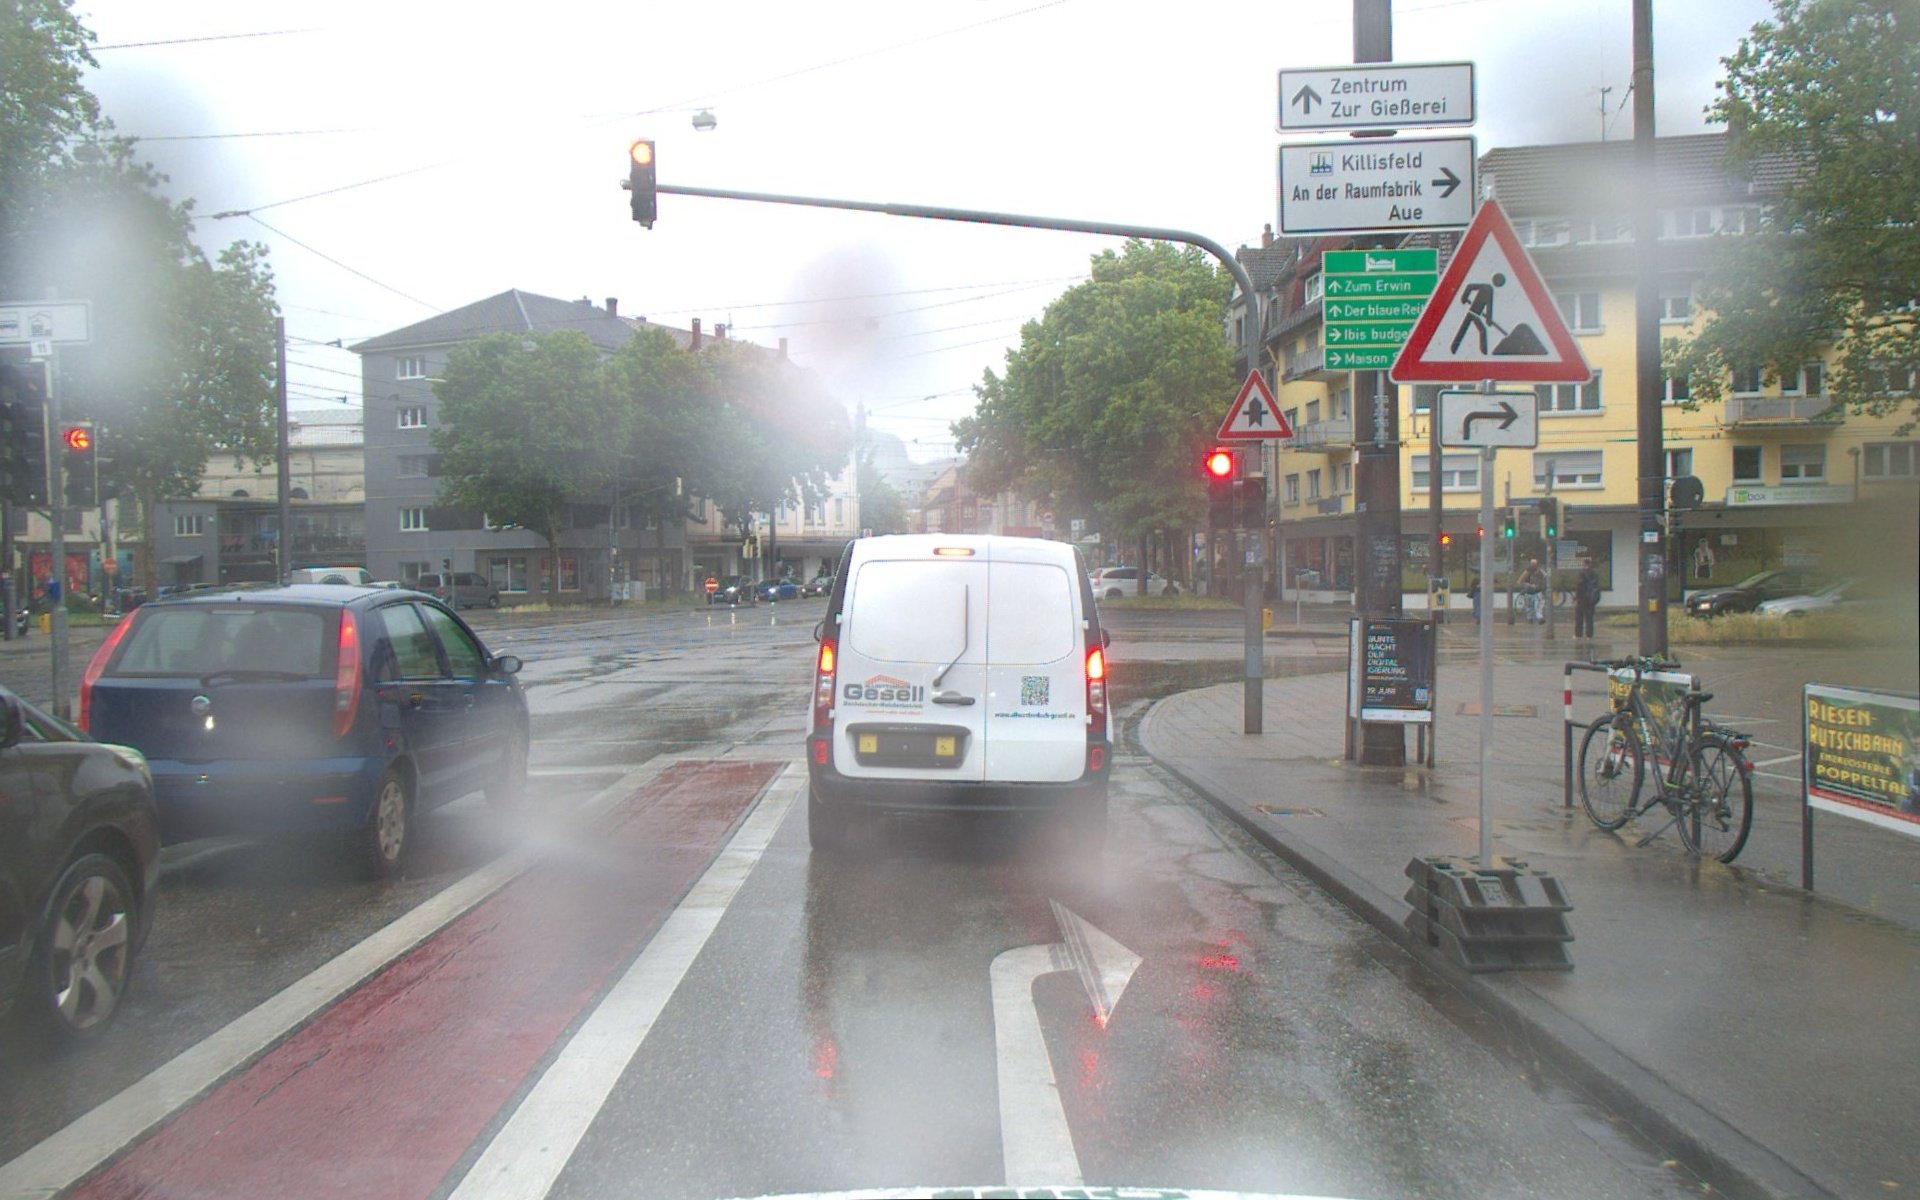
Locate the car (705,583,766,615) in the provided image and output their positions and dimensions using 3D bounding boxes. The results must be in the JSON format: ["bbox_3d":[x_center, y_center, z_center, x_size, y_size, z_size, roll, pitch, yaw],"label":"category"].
[{"bbox_3d":[-12.425,-0.083,91.869,1.909,1.635,4.003,0,2,16],"label":"car"}]

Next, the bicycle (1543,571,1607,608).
[{"bbox_3d":[21.649,-0.360,58.272,2.056,1.283,0.532,0,1,14],"label":"bicycle"}]

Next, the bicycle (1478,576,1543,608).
[{"bbox_3d":[18.333,-0.259,55.133,1.974,1.045,0.660,1,0,12],"label":"bicycle"}]

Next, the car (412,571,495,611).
[{"bbox_3d":[-26.631,-0.469,87.101,1.954,2.049,3.996,1,0,26],"label":"car"}]

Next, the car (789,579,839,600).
[{"bbox_3d":[-9.322,-0.692,105.948,1.909,1.260,4.003,0,2,16],"label":"car"}]

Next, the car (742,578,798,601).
[{"bbox_3d":[-11.248,-0.618,98.106,1.909,1.260,4.003,0,2,16],"label":"car"}]

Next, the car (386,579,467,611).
[{"bbox_3d":[-28.650,-0.292,88.925,1.954,1.556,3.997,1,2,26],"label":"car"}]

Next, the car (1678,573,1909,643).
[{"bbox_3d":[20.902,0.210,41.694,4.832,1.672,2.001,0,-2,11],"label":"car"}]

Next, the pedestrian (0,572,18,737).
[{"bbox_3d":[-9.802,0.535,16.253,0.612,1.635,0.742,0,0,6],"label":"pedestrian"}]

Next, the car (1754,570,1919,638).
[{"bbox_3d":[20.856,0.079,38.679,3.854,1.516,1.808,0,2,15],"label":"car"}]

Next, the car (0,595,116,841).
[{"bbox_3d":[-6.792,0.742,9.868,1.596,1.520,3.781,0,0,-1],"label":"car"}]

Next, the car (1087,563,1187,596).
[{"bbox_3d":[7.673,-0.907,71.808,4.088,1.362,1.518,0,2,-8],"label":"car"}]

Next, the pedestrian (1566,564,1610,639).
[{"bbox_3d":[14.521,0.028,38.229,0.886,1.698,1.019,1,0,24],"label":"pedestrian"}]

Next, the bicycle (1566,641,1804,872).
[{"bbox_3d":[4.229,0.856,9.811,0.503,1.126,2.017,3,1,1],"label":"bicycle"}]

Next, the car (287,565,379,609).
[{"bbox_3d":[-33.998,-0.725,89.804,1.953,2.236,4.787,2,2,23],"label":"car"}]

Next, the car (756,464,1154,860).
[{"bbox_3d":[-0.053,0.310,11.042,2.058,2.047,4.962,0,0,-1],"label":"car"}]

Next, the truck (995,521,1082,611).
[{"bbox_3d":[5.104,-2.027,103.689,3.395,5.176,15.320,1,0,10],"label":"truck"}]

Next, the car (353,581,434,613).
[{"bbox_3d":[-30.804,-0.188,89.984,1.916,1.522,3.997,2,3,26],"label":"car"}]

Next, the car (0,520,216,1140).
[{"bbox_3d":[-3.512,0.629,3.747,1.797,1.697,4.172,0,0,-1],"label":"car"}]

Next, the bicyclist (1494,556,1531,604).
[{"bbox_3d":[18.379,-0.665,55.077,1.043,1.574,0.937,1,0,11],"label":"bicyclist"}]

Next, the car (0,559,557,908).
[{"bbox_3d":[-3.632,0.605,9.569,1.692,1.606,3.820,0,0,-1],"label":"car"}]

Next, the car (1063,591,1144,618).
[{"bbox_3d":[6.394,0.189,73.910,3.377,1.150,1.469,0,0,-9],"label":"car"}]

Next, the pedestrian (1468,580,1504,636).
[{"bbox_3d":[14.595,0.218,45.894,0.808,1.560,0.614,0,0,-39],"label":"pedestrian"}]
